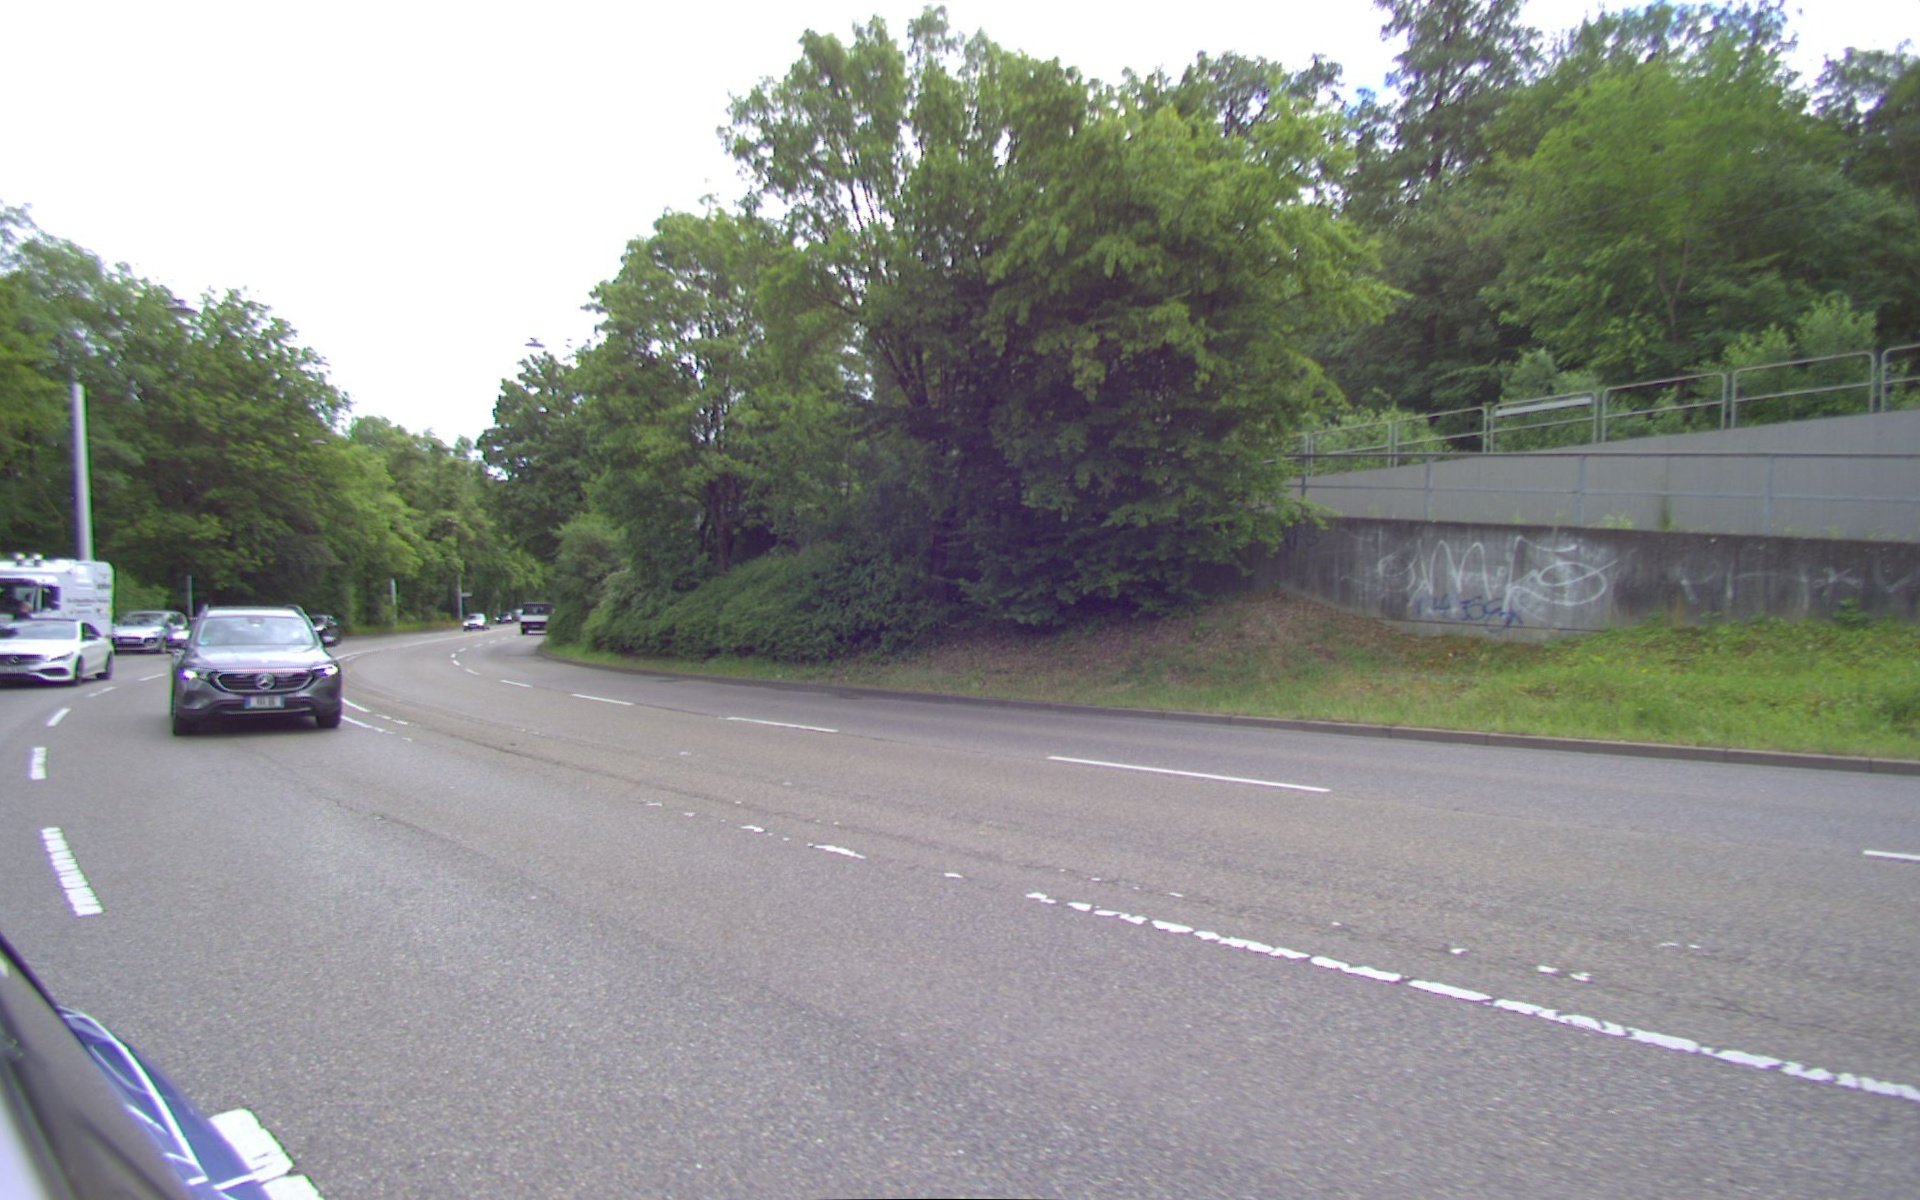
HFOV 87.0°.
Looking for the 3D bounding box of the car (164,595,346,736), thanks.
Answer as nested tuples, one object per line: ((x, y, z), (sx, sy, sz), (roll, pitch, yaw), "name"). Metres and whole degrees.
((-10.027, 0.793, 14.265), (1.842, 1.675, 4.201), (1, -1, -38), "car")

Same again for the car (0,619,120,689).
((-19.762, 1.099, 21.699), (1.865, 1.306, 4.341), (0, 0, -29), "car")

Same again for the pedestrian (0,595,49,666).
((-25.229, 0.818, 27.060), (0.904, 1.848, 0.987), (2, -3, -19), "pedestrian")

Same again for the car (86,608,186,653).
((-31.215, 1.105, 38.457), (1.777, 1.536, 4.013), (-2, 0, -22), "car")

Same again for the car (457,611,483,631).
((-41.209, 1.752, 85.095), (1.670, 1.594, 4.012), (-3, 0, -30), "car")

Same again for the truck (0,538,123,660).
((-27.514, 0.047, 29.814), (2.447, 3.205, 7.252), (-3, 0, -24), "truck")

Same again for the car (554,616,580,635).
((-38.138, 2.495, 98.231), (1.830, 1.707, 4.449), (3, -2, -16), "car")

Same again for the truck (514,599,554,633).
((-31.457, 1.199, 74.908), (2.130, 2.389, 6.698), (-1, -1, -17), "truck")
